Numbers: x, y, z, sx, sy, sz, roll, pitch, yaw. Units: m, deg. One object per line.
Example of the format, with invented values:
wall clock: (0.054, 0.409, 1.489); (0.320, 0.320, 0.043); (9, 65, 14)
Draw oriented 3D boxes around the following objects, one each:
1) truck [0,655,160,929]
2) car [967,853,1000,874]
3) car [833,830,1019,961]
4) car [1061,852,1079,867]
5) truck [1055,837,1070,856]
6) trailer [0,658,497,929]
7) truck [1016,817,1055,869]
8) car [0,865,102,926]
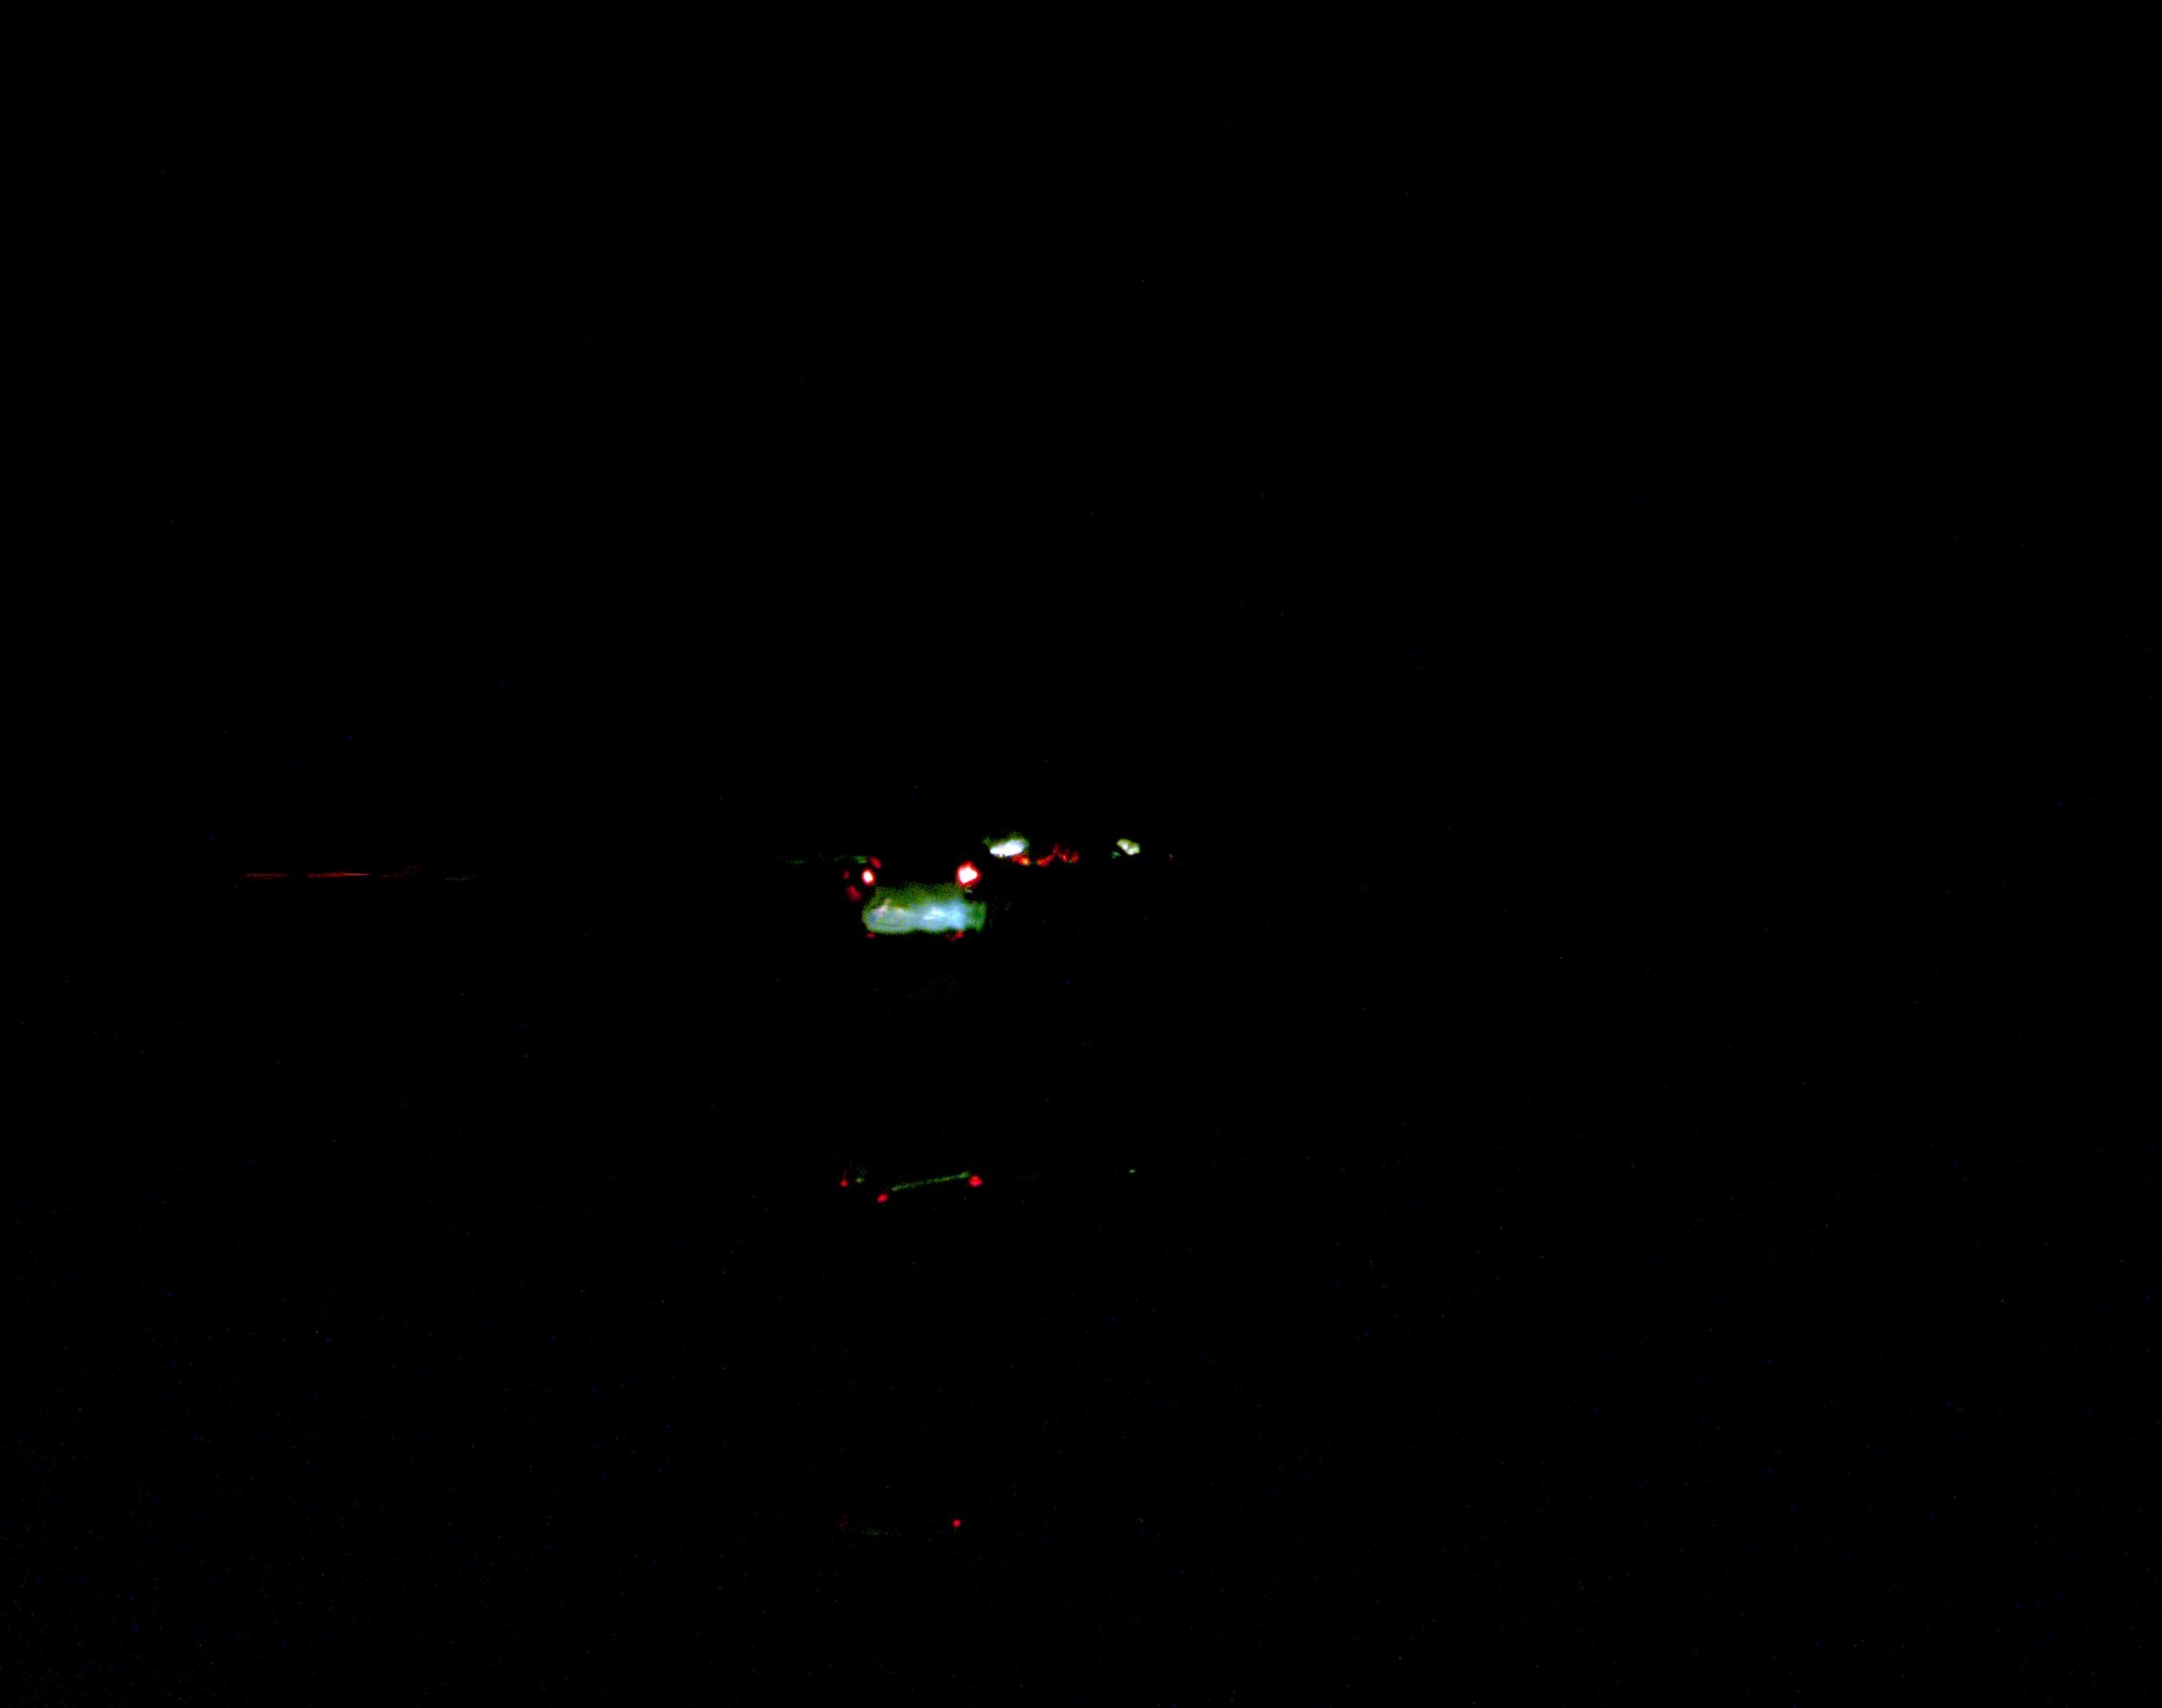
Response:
truck: (-25.955, -1.482, 18.094); (3.450, 6.127, 6.175); (4, 0, 2)
car: (-8.030, 0.790, 67.328); (1.986, 1.707, 4.198); (0, 0, 2)
car: (-2.330, 0.518, 13.763); (1.945, 1.792, 5.128); (0, 1, 3)
car: (-1.319, 0.660, 95.088); (1.989, 1.707, 4.191); (0, 0, -3)
truck: (-4.989, -1.868, 214.782); (3.815, 4.915, 11.594); (0, 0, -3)
trailer: (-25.715, -1.472, 25.666); (3.449, 6.127, 14.413); (4, 0, 2)
truck: (-5.165, -1.200, 93.415); (4.157, 5.544, 13.061); (0, 0, -3)
car: (-21.820, 0.817, 15.609); (1.697, 1.155, 3.658); (0, 0, -1)
